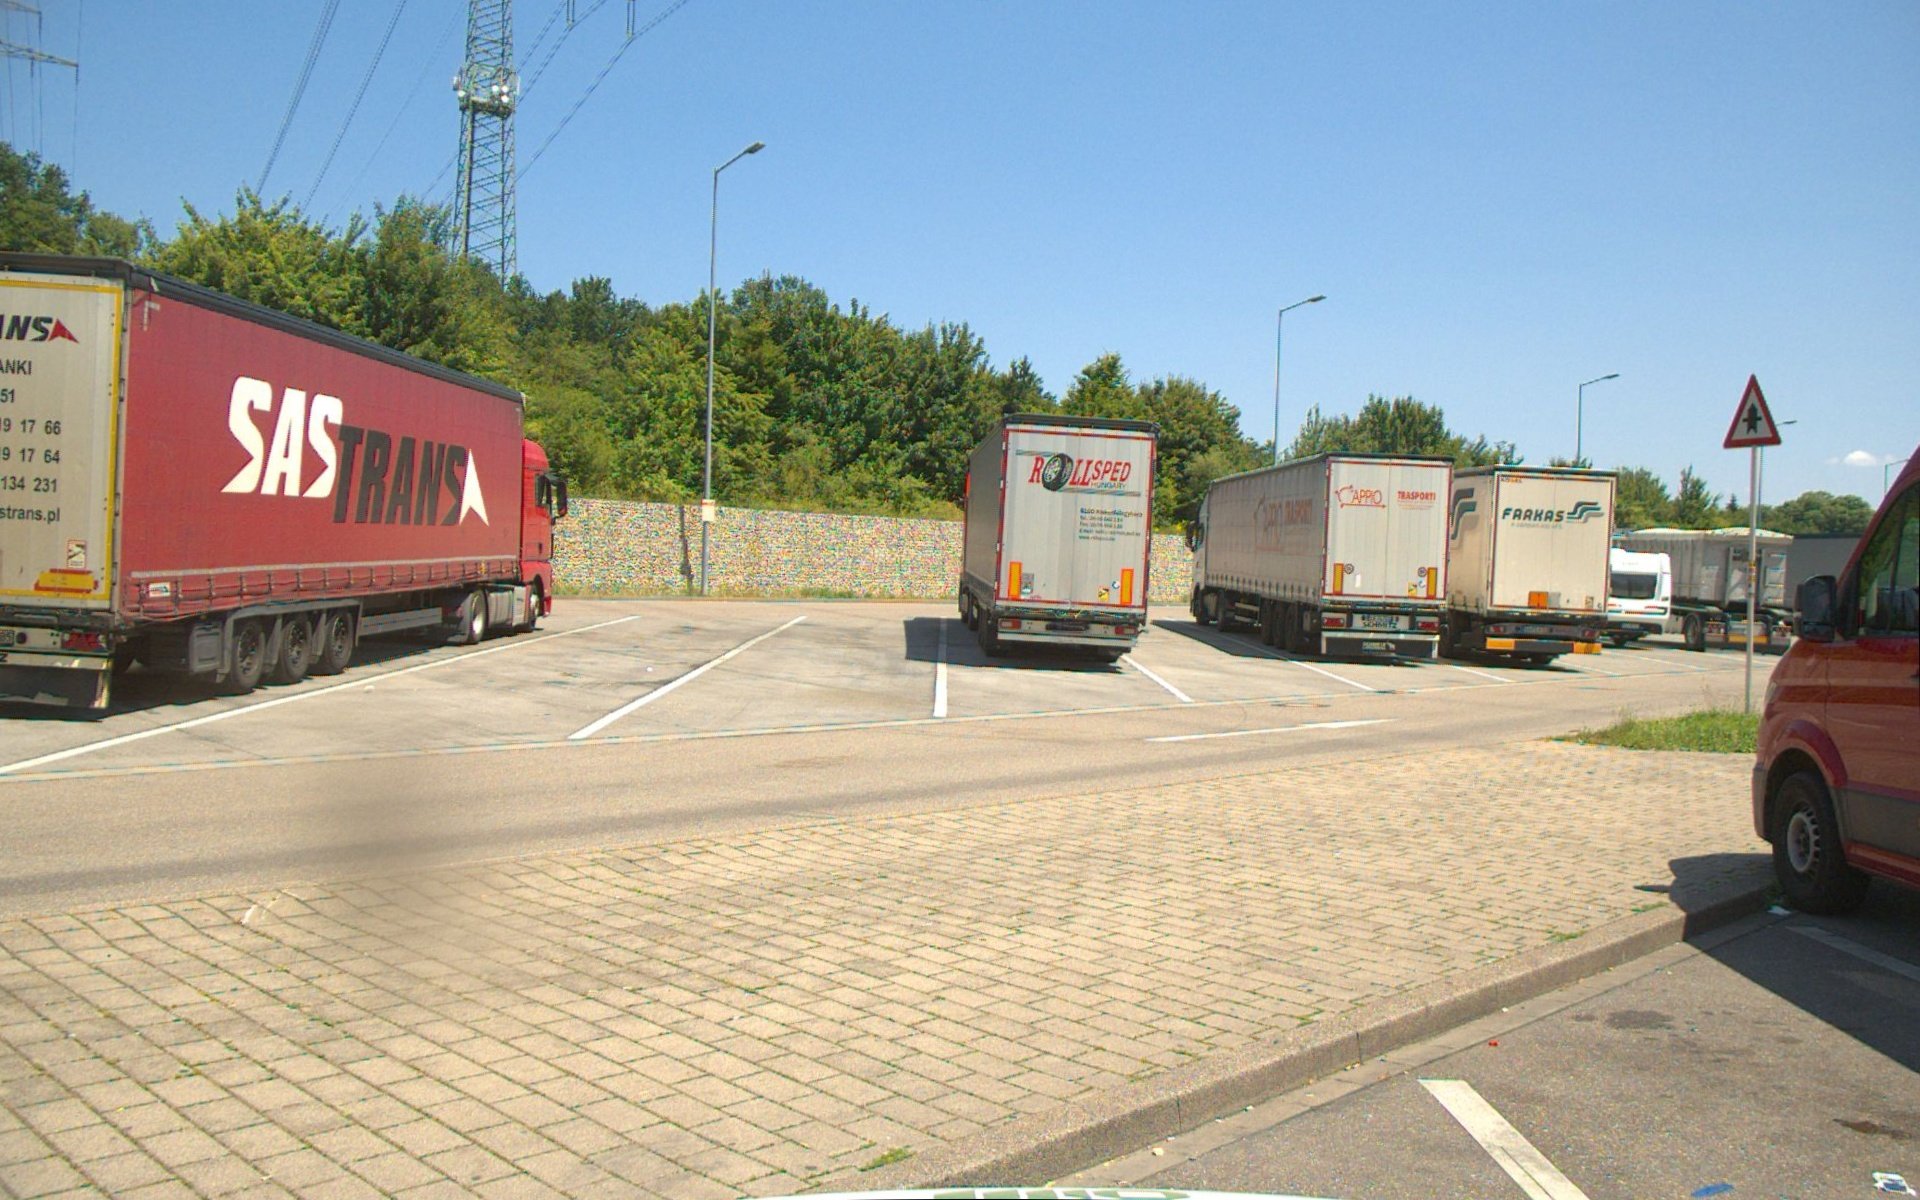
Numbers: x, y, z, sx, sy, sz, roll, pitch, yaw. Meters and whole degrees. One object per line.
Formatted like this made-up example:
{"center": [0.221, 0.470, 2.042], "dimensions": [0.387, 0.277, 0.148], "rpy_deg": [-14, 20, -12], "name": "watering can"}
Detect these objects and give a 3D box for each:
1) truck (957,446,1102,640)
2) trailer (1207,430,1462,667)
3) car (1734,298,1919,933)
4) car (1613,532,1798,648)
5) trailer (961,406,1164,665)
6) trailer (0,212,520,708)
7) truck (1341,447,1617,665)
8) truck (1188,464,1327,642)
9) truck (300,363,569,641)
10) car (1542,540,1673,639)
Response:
{"center": [1.455, -1.248, 37.780], "dimensions": [2.813, 4.050, 6.028], "rpy_deg": [1, 1, -2], "name": "truck"}
{"center": [8.171, -1.104, 38.236], "dimensions": [2.627, 4.530, 12.826], "rpy_deg": [1, 1, -1], "name": "trailer"}
{"center": [4.961, 0.099, 5.572], "dimensions": [1.952, 2.679, 6.385], "rpy_deg": [1, 1, 3], "name": "car"}
{"center": [21.690, -0.328, 48.500], "dimensions": [2.449, 3.128, 6.350], "rpy_deg": [1, 1, -1], "name": "car"}
{"center": [1.638, -1.133, 32.067], "dimensions": [2.839, 4.083, 11.313], "rpy_deg": [1, 1, -2], "name": "trailer"}
{"center": [-8.642, -1.346, 20.982], "dimensions": [2.743, 4.293, 13.200], "rpy_deg": [1, 1, -1], "name": "trailer"}
{"center": [11.709, -0.844, 38.906], "dimensions": [2.534, 4.299, 11.967], "rpy_deg": [1, 0, -1], "name": "truck"}
{"center": [8.016, -1.256, 45.292], "dimensions": [2.607, 4.530, 5.863], "rpy_deg": [1, 1, -1], "name": "truck"}
{"center": [-8.730, -1.548, 28.237], "dimensions": [2.749, 4.205, 5.893], "rpy_deg": [1, 1, -1], "name": "truck"}
{"center": [18.227, -0.280, 46.739], "dimensions": [2.072, 2.645, 3.999], "rpy_deg": [1, 0, -1], "name": "car"}
